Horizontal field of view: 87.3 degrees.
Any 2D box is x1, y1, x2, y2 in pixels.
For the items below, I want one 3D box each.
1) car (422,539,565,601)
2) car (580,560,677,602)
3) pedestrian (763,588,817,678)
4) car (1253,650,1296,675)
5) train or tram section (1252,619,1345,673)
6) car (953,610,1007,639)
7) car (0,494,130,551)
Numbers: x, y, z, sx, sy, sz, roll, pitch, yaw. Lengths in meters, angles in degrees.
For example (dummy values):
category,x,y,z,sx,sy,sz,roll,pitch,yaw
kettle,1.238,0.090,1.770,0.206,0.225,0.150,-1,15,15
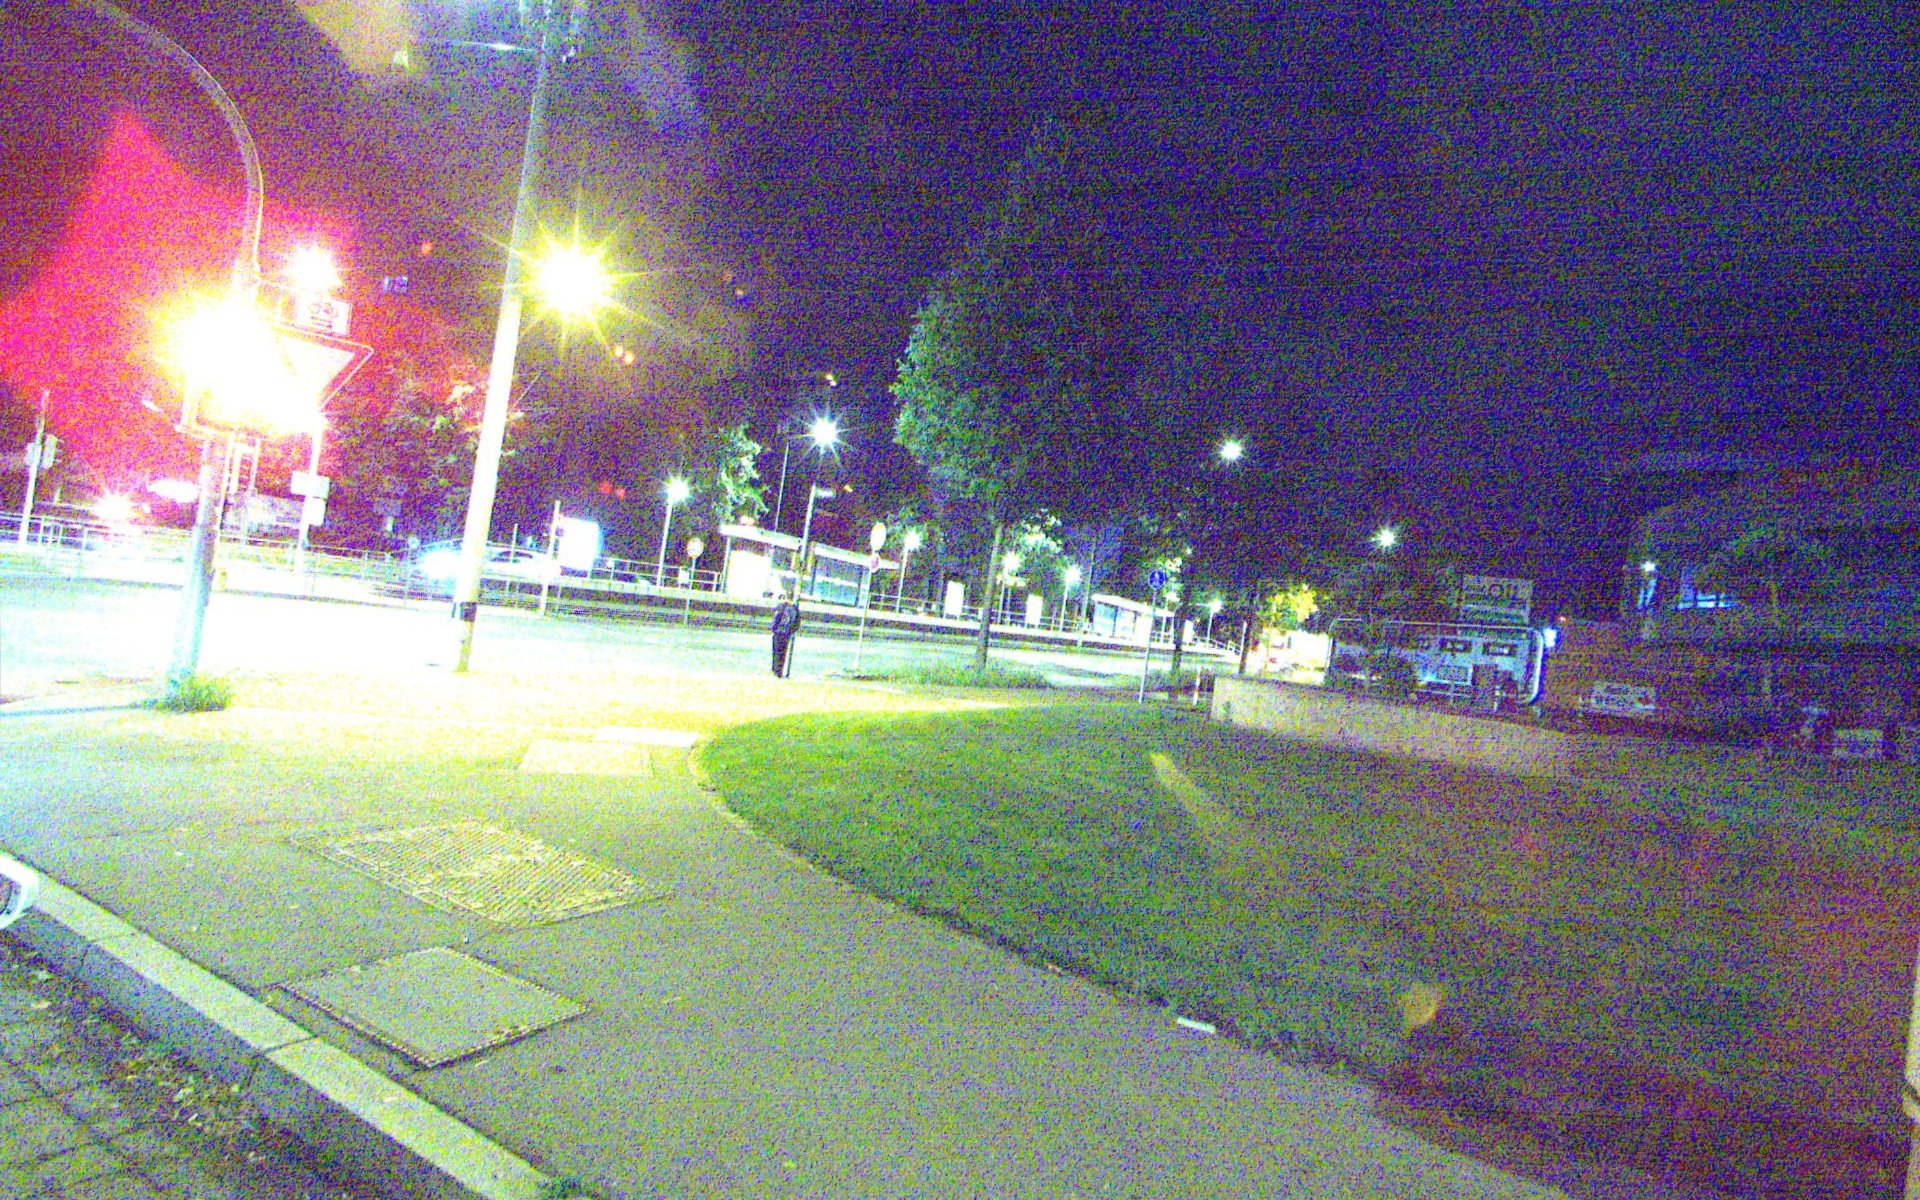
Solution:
category,x,y,z,sx,sy,sz,roll,pitch,yaw
car,-18.333,-1.158,39.745,1.814,1.866,4.782,5,-1,35
car,-16.088,-0.915,48.988,1.813,1.441,4.063,9,0,35
pedestrian,-3.301,0.638,19.486,0.867,1.677,0.835,2,1,-18
car,21.699,4.332,69.275,1.617,1.438,3.687,7,0,35
train or tram section,32.867,4.593,96.729,2.918,3.896,18.427,8,0,35
car,1.529,1.852,74.388,1.776,1.603,4.237,5,-3,36
car,-30.357,-2.595,33.101,1.814,1.405,4.329,5,-1,35
